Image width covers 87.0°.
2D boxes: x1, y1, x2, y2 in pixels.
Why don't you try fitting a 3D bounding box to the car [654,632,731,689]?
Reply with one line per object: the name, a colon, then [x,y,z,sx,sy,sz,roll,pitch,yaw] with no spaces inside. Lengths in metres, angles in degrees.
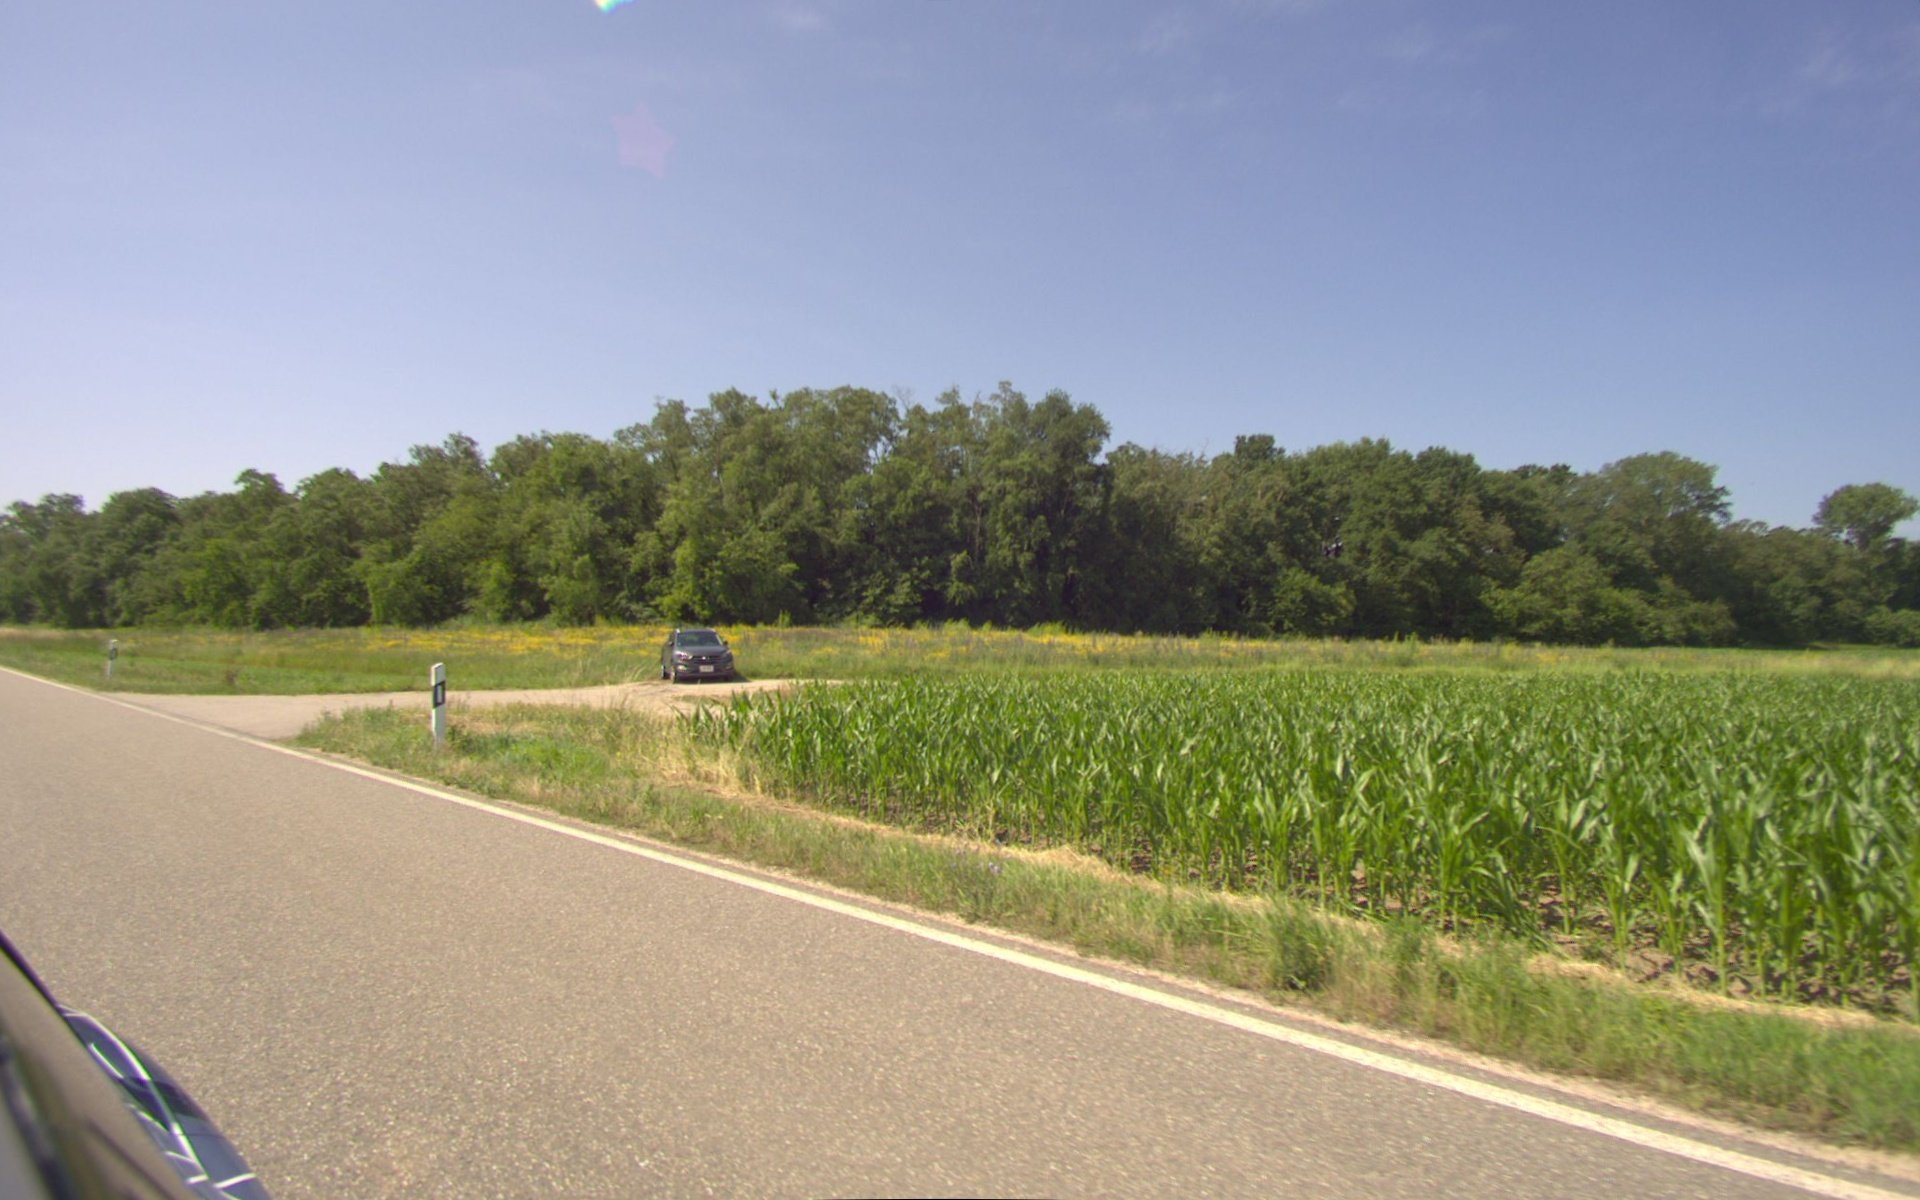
car: [-8.528,1.855,32.000,1.728,1.664,4.544,1,-2,-23]
